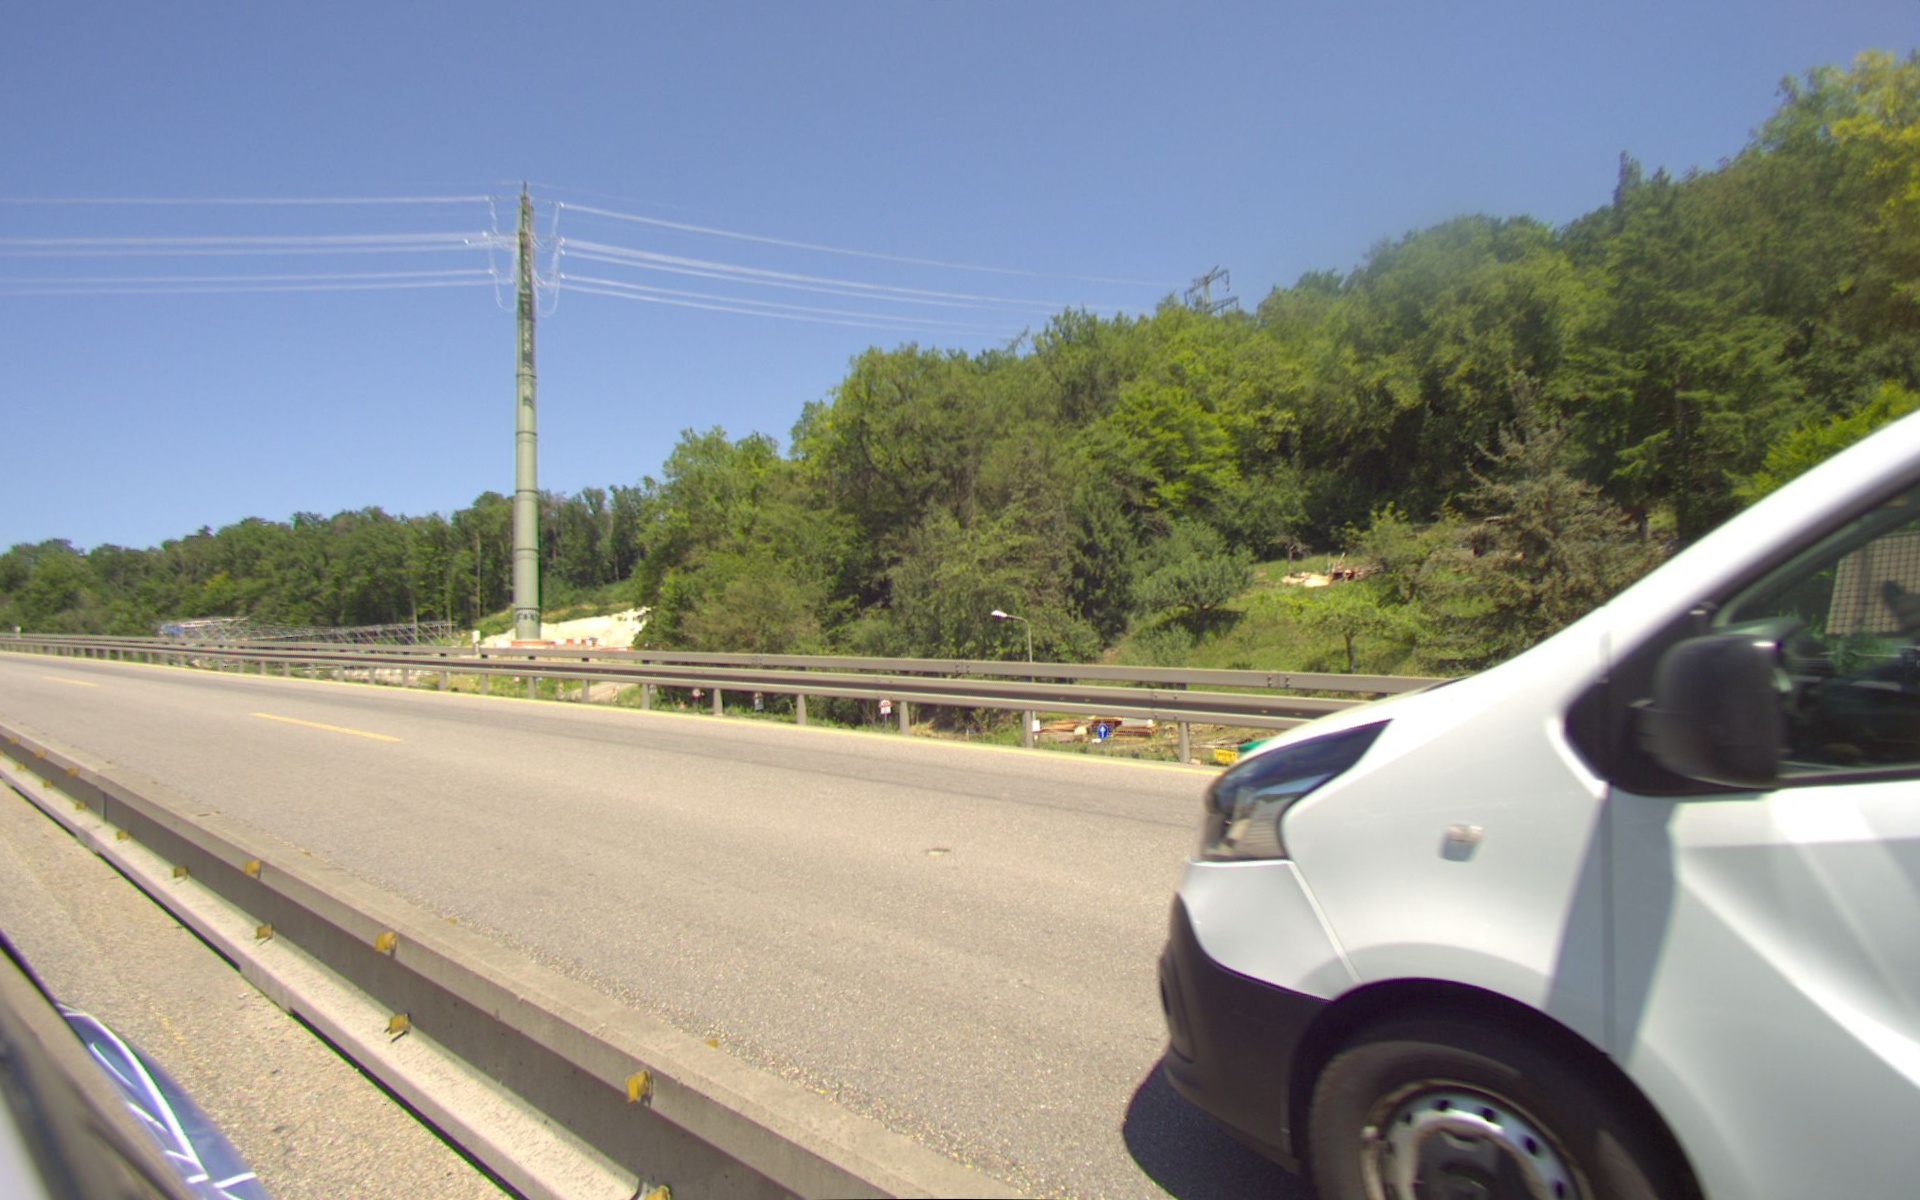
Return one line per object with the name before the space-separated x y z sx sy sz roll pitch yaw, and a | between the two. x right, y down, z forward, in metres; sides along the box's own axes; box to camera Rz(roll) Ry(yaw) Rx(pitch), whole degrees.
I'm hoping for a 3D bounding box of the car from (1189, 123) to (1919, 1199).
car | 2.966 0.329 1.365 4.855 2.026 1.973 -1 -2 41
